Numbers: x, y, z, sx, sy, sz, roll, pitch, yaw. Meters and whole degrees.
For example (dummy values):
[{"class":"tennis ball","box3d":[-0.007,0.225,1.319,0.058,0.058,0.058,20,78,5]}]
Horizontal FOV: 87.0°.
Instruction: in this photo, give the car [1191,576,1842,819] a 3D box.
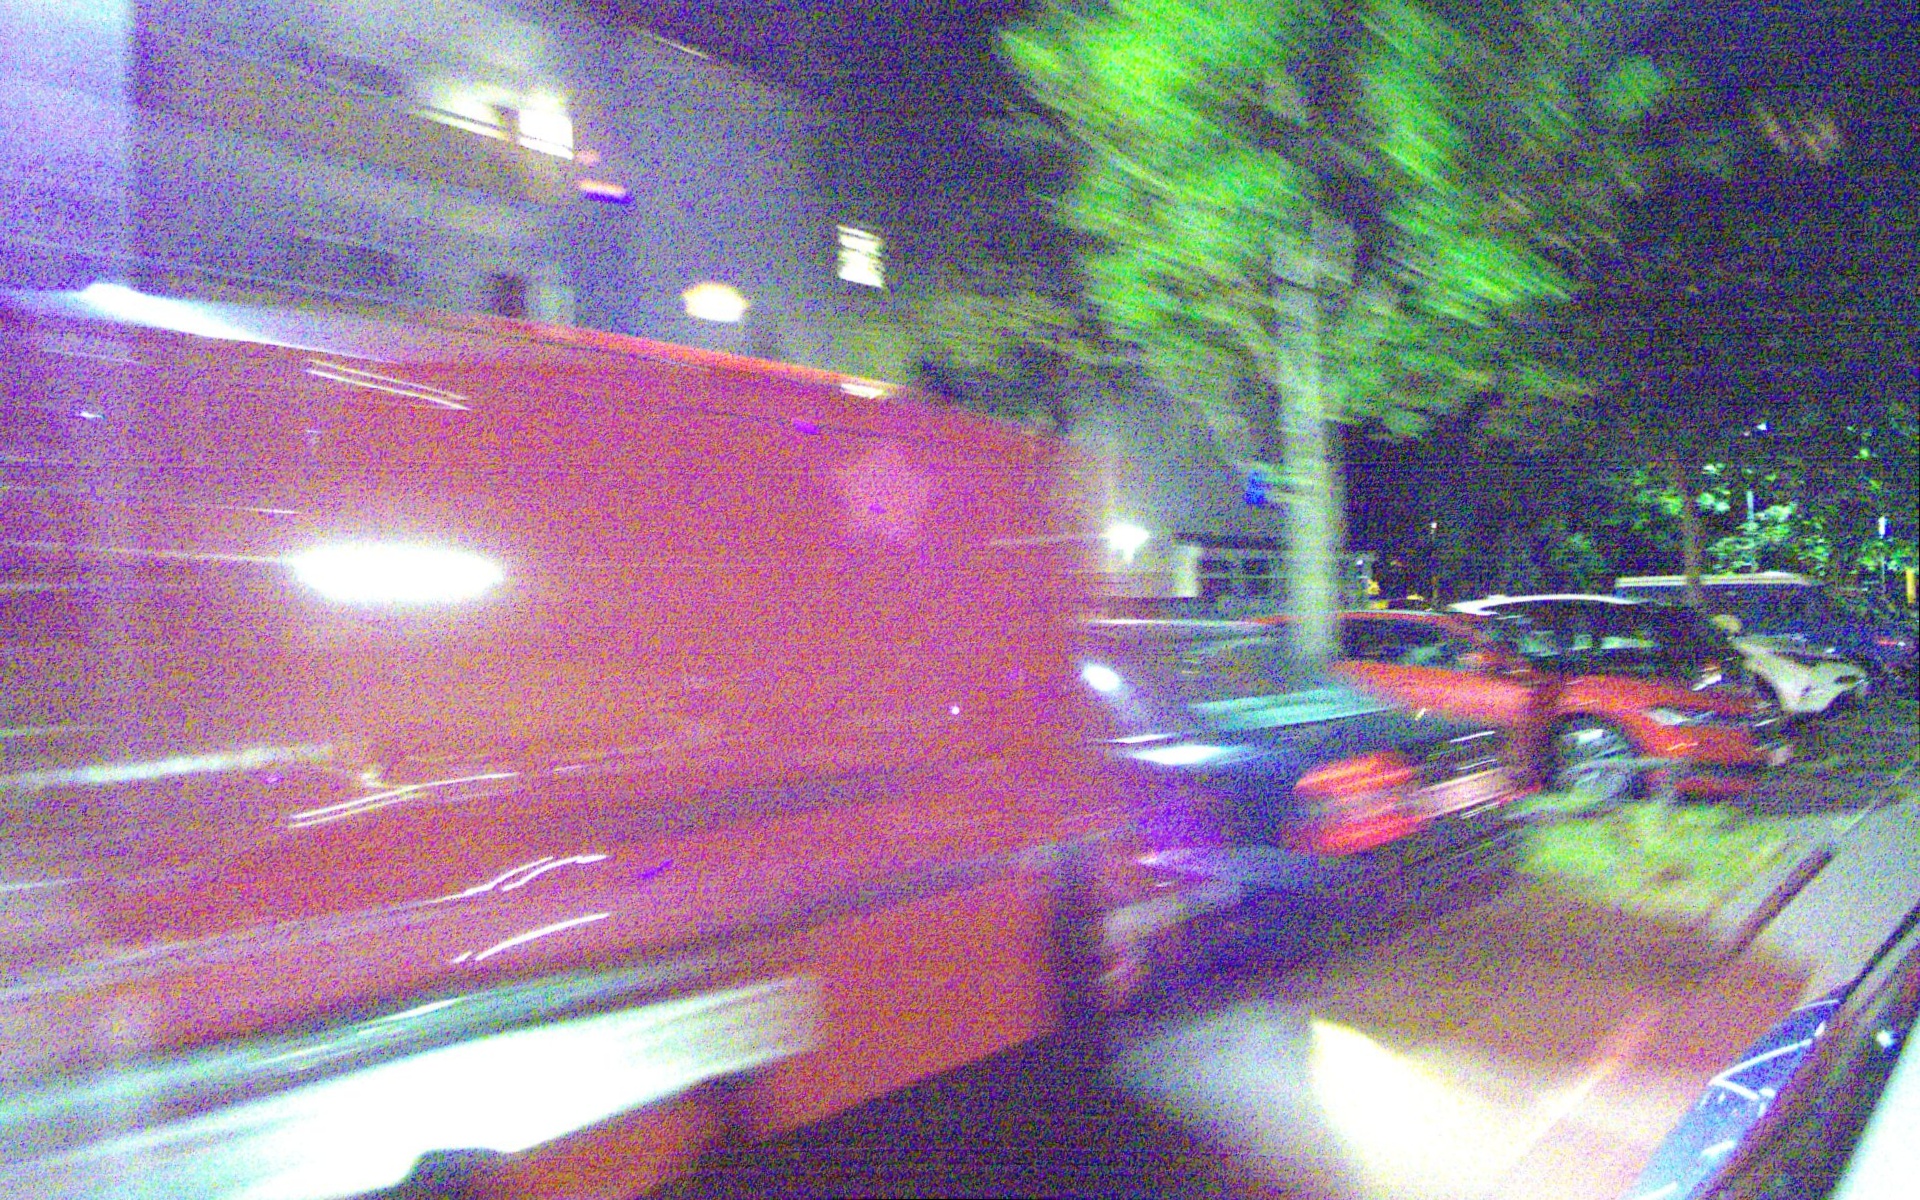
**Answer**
[{"class":"car","box3d":[4.593,0.686,9.070,2.068,1.577,4.664,0,-2,-38]}]

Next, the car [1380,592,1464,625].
[{"class":"car","box3d":[24.544,0.419,53.789,3.964,1.618,1.743,2,1,28]}]

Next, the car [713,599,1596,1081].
[{"class":"car","box3d":[0.544,0.741,5.357,1.900,1.438,4.407,0,-1,-39]}]

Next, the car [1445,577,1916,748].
[{"class":"car","box3d":[8.602,0.677,12.529,1.960,1.719,4.293,0,-1,-30]}]

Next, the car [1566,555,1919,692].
[{"class":"car","box3d":[14.148,0.391,18.188,2.221,2.123,5.150,0,-1,-41]}]

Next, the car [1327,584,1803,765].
[{"class":"car","box3d":[6.358,0.693,10.992,1.965,1.577,3.993,0,-2,-40]}]

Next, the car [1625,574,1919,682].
[{"class":"car","box3d":[16.329,0.513,19.777,2.221,1.868,5.150,0,-1,-41]}]

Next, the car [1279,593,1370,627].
[{"class":"car","box3d":[19.940,0.504,55.521,4.596,1.694,1.919,1,1,21]}]
